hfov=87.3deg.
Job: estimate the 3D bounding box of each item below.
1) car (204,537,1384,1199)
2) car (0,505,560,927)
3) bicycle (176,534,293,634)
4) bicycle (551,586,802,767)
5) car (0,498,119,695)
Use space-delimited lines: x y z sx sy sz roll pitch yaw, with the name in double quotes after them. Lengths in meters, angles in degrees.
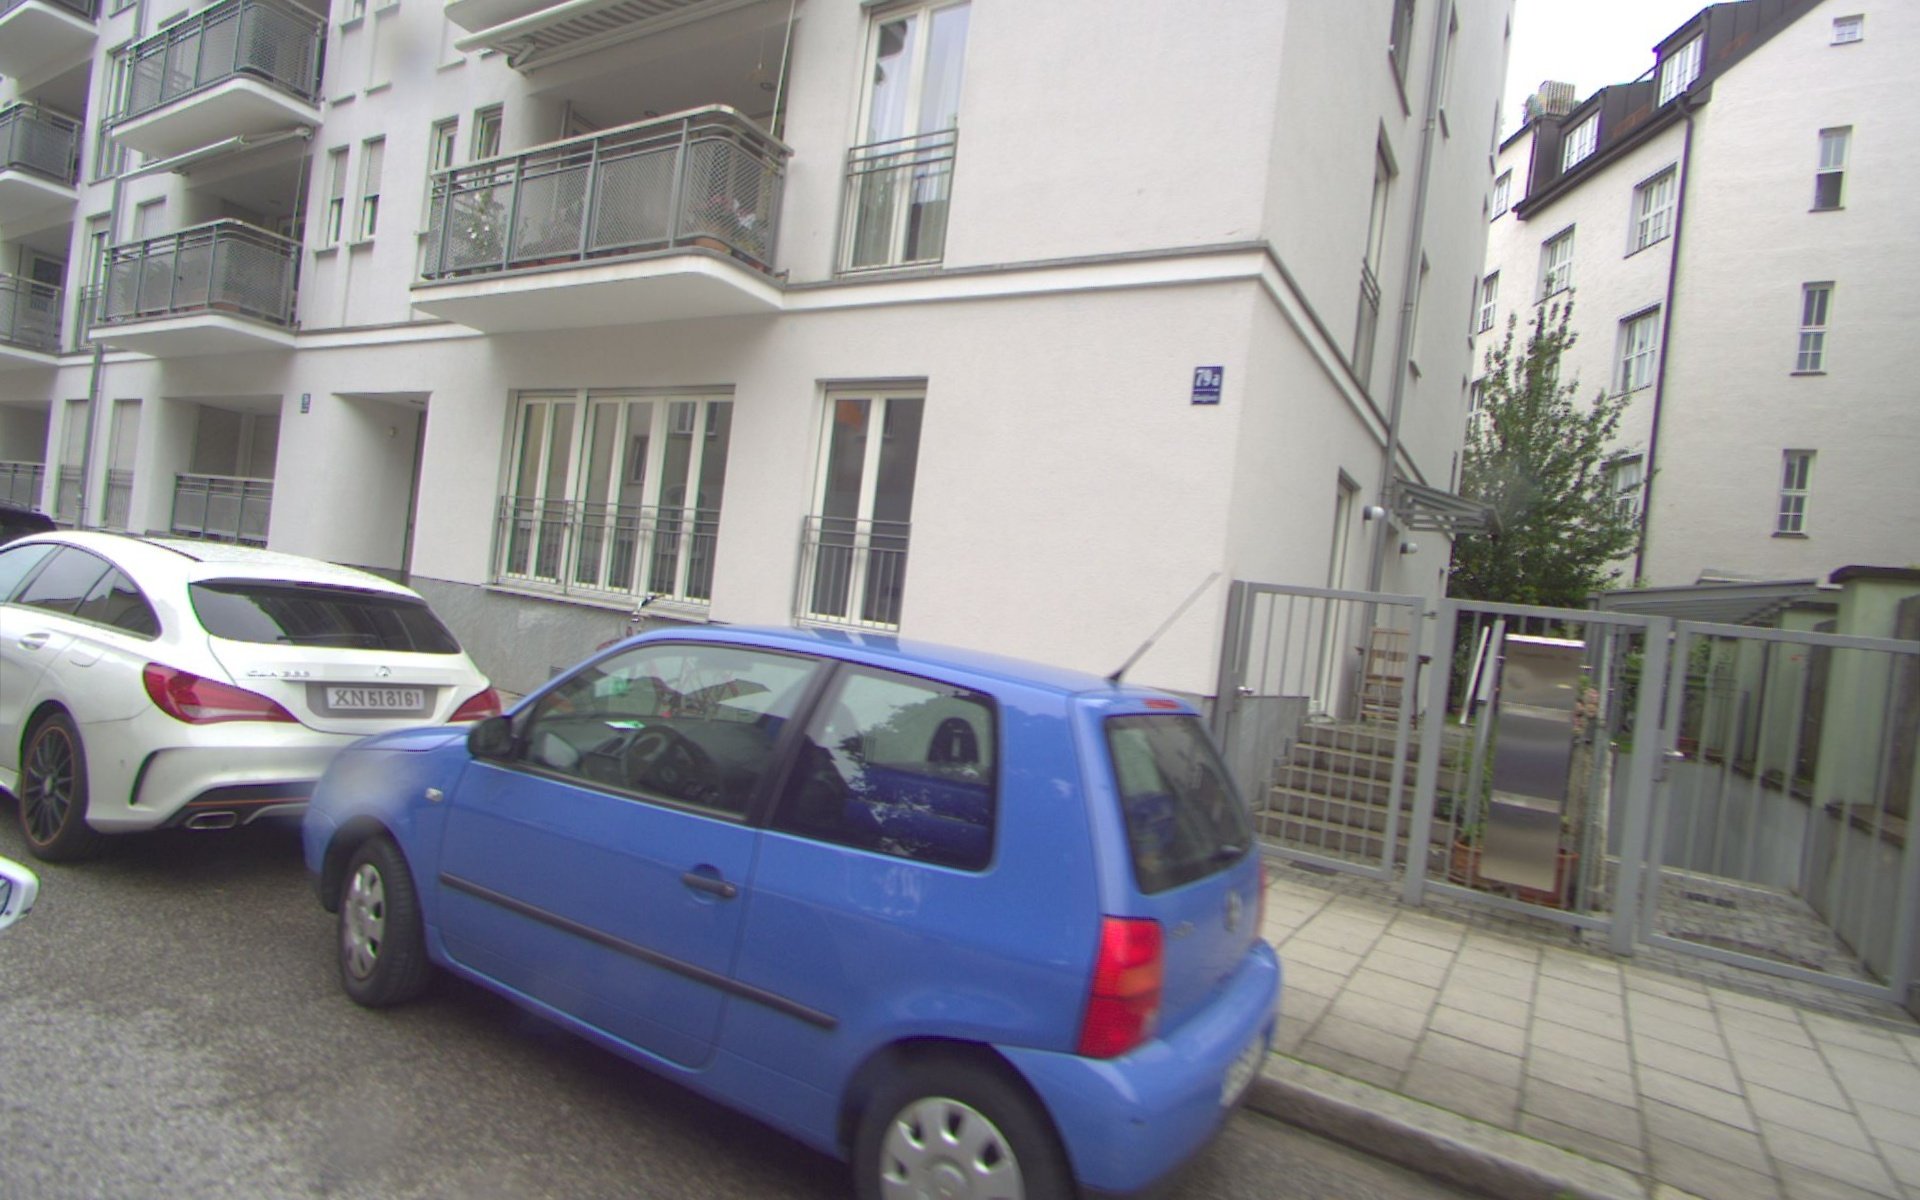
-0.671 0.772 3.505 3.656 1.439 1.719 7 -2 30 "car"
-4.439 0.348 5.559 4.301 1.484 1.669 7 -2 29 "car"
-9.426 -0.223 13.051 1.780 1.113 0.569 7 3 32 "bicycle"
-2.383 0.603 8.387 1.941 1.186 0.803 7 -1 32 "bicycle"
-9.451 -0.250 8.851 3.954 1.550 1.842 7 -2 31 "car"
